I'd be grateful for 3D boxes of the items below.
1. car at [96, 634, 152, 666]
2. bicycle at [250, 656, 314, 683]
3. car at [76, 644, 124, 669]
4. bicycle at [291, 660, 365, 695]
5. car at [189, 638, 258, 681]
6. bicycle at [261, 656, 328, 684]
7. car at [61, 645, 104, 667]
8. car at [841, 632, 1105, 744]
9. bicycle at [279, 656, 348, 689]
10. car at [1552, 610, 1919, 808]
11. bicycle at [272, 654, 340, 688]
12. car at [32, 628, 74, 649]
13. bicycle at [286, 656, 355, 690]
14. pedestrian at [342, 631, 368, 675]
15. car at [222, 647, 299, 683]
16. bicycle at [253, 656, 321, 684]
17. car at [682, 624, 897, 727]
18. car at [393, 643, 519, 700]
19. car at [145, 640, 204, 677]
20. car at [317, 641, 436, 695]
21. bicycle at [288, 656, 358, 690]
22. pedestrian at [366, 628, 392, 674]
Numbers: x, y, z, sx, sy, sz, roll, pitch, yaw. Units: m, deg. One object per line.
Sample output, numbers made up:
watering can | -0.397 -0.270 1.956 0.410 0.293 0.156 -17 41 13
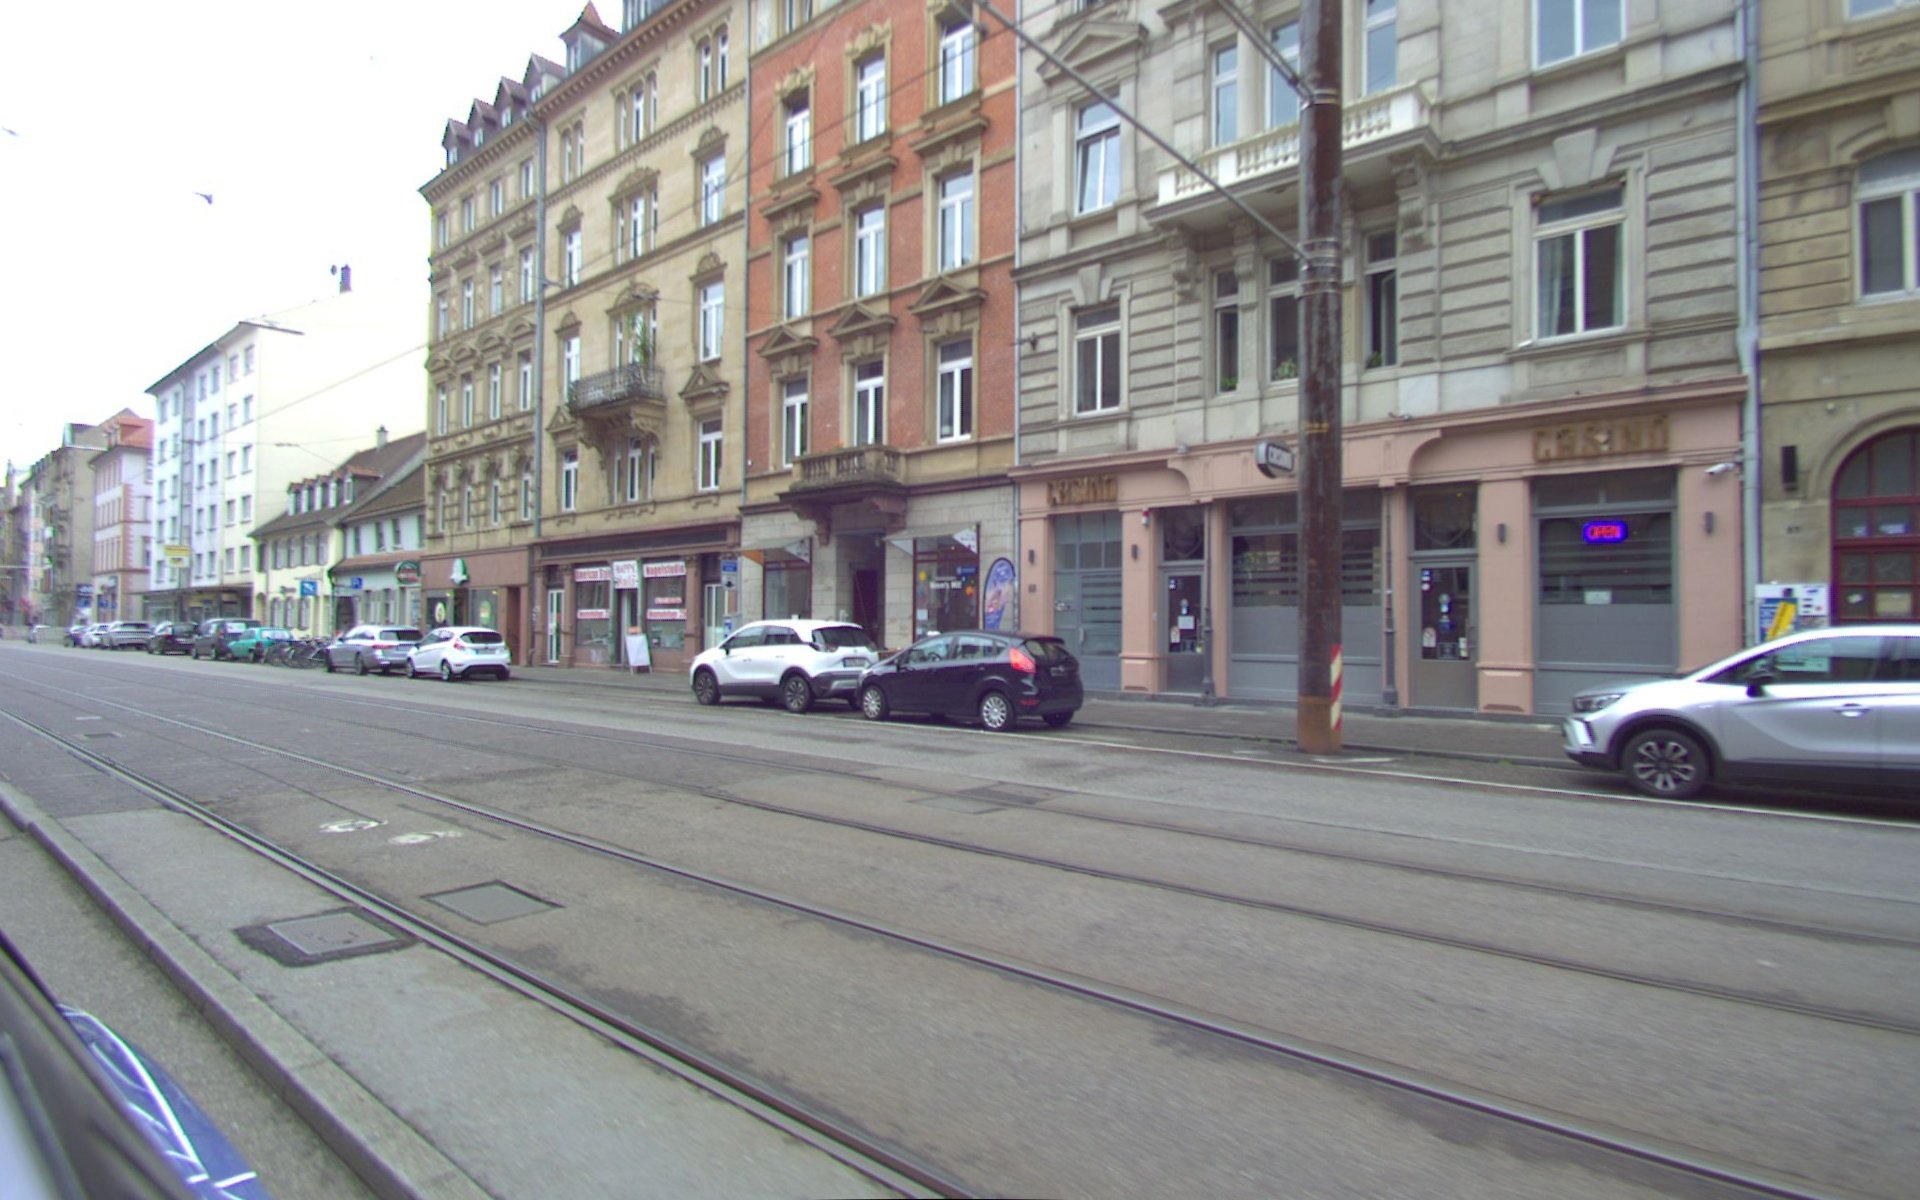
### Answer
car | -48.021 2.837 58.115 3.825 1.745 1.903 -1 -1 41
bicycle | -26.443 2.711 39.513 0.556 0.940 2.019 -1 -1 39
car | -53.073 3.461 62.453 3.825 1.462 1.710 -1 -1 41
bicycle | -21.816 2.663 34.971 0.557 1.106 2.111 -2 -1 42
car | -32.327 2.585 44.400 3.920 1.770 1.684 -2 -4 43
bicycle | -24.906 2.608 37.911 0.557 0.940 2.017 -2 -1 43
car | -58.054 3.696 66.954 3.245 1.354 1.710 -1 -1 41
car | 0.120 1.270 15.557 3.919 1.500 1.725 -2 -4 42
bicycle | -23.228 2.593 36.392 0.557 1.106 2.017 -2 -1 42
car | 7.766 0.902 8.848 4.223 1.545 1.725 -2 -4 41
bicycle | -23.710 2.557 36.732 0.557 1.106 2.017 -2 -1 42
car | -68.845 2.911 76.820 3.999 1.574 1.843 -1 -4 42
bicycle | -22.726 2.586 35.985 0.557 1.106 2.017 -2 -1 42
pedestrian | -22.880 1.995 38.258 0.727 1.629 0.648 -1 -2 41
car | -28.474 2.635 41.181 3.431 1.391 1.631 -2 -4 38
bicycle | -25.448 2.632 38.301 0.556 0.940 2.100 -1 -1 39
car | -3.199 1.327 18.617 4.044 1.685 1.725 -2 -4 41
car | -14.132 1.946 28.299 4.044 1.476 1.725 -2 -4 41
car | -39.632 2.909 51.055 4.180 1.684 1.682 -1 -1 43
car | -17.918 2.052 30.995 4.543 1.533 1.805 -3 -4 42
bicycle | -22.338 2.552 35.534 0.557 1.106 2.017 -2 -1 42
pedestrian | -22.191 1.951 38.665 0.753 1.725 0.648 -1 -2 41
